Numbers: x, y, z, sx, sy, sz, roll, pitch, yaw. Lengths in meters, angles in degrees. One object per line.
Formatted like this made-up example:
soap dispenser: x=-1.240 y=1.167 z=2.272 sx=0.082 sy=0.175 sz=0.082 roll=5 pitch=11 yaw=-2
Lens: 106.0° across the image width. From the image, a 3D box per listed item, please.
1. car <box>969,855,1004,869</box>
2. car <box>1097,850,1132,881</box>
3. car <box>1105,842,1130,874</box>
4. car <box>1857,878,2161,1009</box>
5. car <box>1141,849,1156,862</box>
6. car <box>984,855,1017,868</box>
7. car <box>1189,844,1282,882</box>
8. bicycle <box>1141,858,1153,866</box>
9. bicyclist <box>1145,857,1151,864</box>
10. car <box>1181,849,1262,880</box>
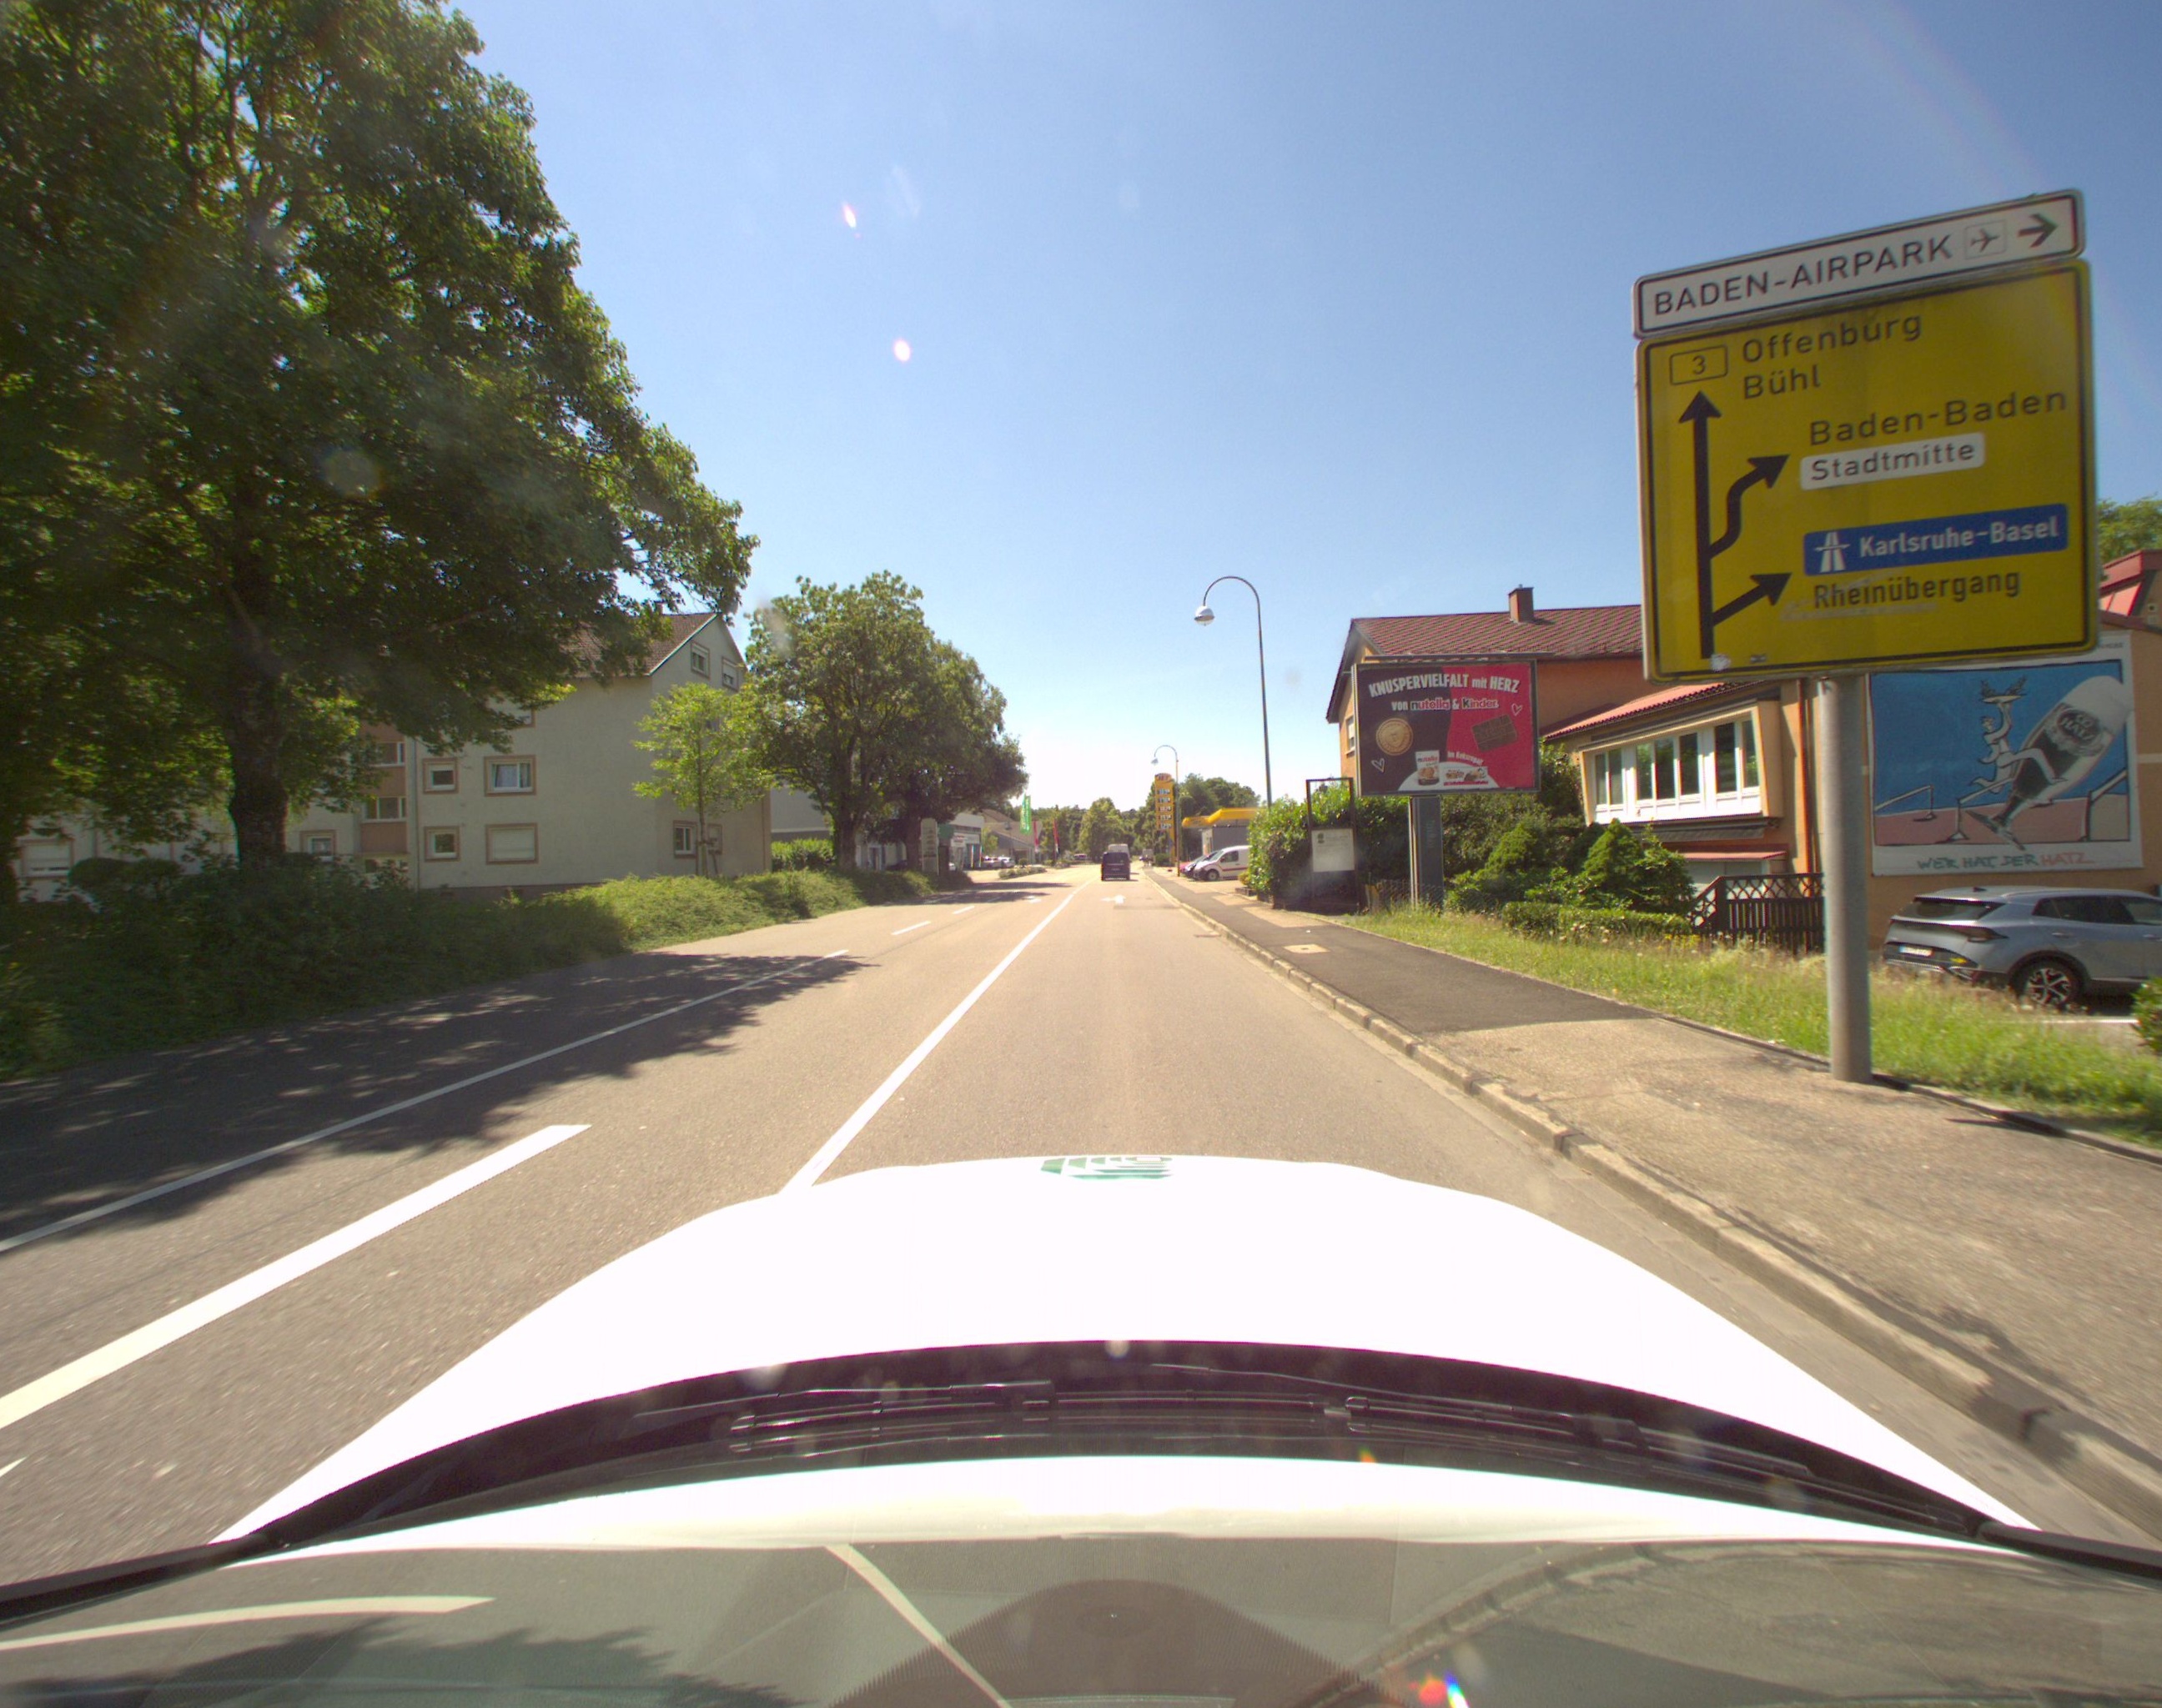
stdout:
car: x=-12.093 y=1.020 z=104.443 sx=4.009 sy=1.706 sz=1.912 roll=-1 pitch=1 yaw=18
car: x=2.131 y=0.695 z=52.979 sx=1.988 sy=1.893 sz=3.997 roll=-1 pitch=1 yaw=-2
car: x=3.261 y=0.292 z=72.694 sx=2.112 sy=2.677 sz=5.665 roll=-1 pitch=1 yaw=2
car: x=14.316 y=1.242 z=11.723 sx=4.235 sy=1.599 sz=1.894 roll=-2 pitch=0 yaw=8
car: x=13.843 y=0.247 z=166.554 sx=2.337 sy=2.546 sz=4.972 roll=-1 pitch=1 yaw=11
car: x=-11.065 y=1.017 z=112.166 sx=3.961 sy=1.662 sz=2.007 roll=-1 pitch=1 yaw=11
car: x=8.298 y=0.447 z=43.955 sx=4.546 sy=1.717 sz=1.998 roll=-4 pitch=1 yaw=-3
bicycle: x=8.812 y=1.042 z=108.457 sx=1.731 sy=0.887 sz=0.551 roll=-4 pitch=3 yaw=-44
bicyclist: x=8.968 y=0.908 z=108.603 sx=0.472 sy=0.853 sz=0.551 roll=-4 pitch=3 yaw=-43
car: x=7.946 y=0.565 z=46.323 sx=4.147 sy=1.456 sz=1.905 roll=-4 pitch=1 yaw=-3
